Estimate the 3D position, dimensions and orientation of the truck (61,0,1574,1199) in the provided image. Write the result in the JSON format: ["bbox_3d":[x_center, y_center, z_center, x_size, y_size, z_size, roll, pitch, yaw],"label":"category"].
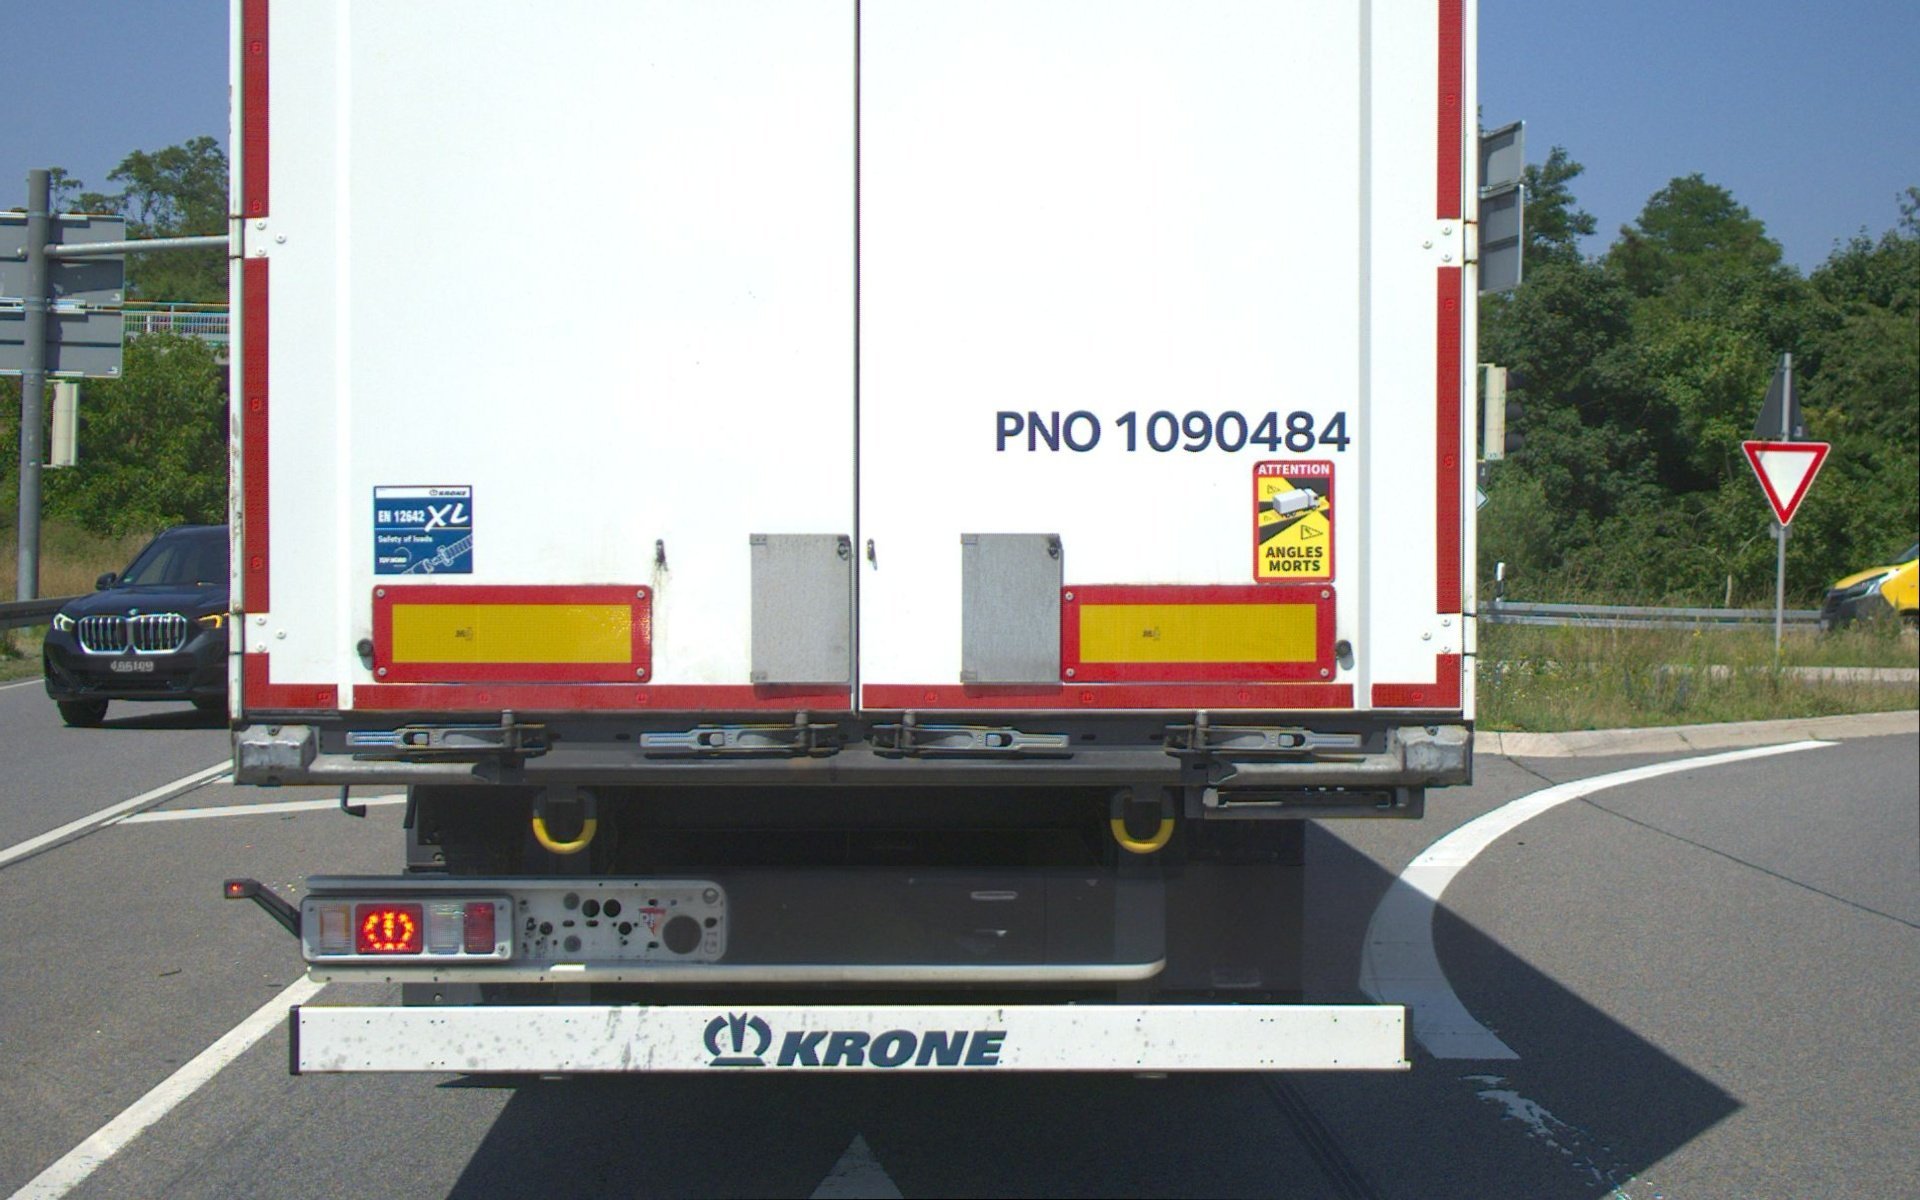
[{"bbox_3d":[-0.380,-0.658,11.767,2.987,3.928,9.876,1,1,-1],"label":"truck"}]

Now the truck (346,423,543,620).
[{"bbox_3d":[-9.789,-1.447,66.047,2.644,3.526,7.890,1,0,-1],"label":"truck"}]

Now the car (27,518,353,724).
[{"bbox_3d":[-6.366,0.124,28.904,1.762,1.592,4.501,0,1,-1],"label":"car"}]

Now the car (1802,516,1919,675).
[{"bbox_3d":[13.774,-0.043,44.424,5.323,2.007,2.000,1,0,3],"label":"car"}]
